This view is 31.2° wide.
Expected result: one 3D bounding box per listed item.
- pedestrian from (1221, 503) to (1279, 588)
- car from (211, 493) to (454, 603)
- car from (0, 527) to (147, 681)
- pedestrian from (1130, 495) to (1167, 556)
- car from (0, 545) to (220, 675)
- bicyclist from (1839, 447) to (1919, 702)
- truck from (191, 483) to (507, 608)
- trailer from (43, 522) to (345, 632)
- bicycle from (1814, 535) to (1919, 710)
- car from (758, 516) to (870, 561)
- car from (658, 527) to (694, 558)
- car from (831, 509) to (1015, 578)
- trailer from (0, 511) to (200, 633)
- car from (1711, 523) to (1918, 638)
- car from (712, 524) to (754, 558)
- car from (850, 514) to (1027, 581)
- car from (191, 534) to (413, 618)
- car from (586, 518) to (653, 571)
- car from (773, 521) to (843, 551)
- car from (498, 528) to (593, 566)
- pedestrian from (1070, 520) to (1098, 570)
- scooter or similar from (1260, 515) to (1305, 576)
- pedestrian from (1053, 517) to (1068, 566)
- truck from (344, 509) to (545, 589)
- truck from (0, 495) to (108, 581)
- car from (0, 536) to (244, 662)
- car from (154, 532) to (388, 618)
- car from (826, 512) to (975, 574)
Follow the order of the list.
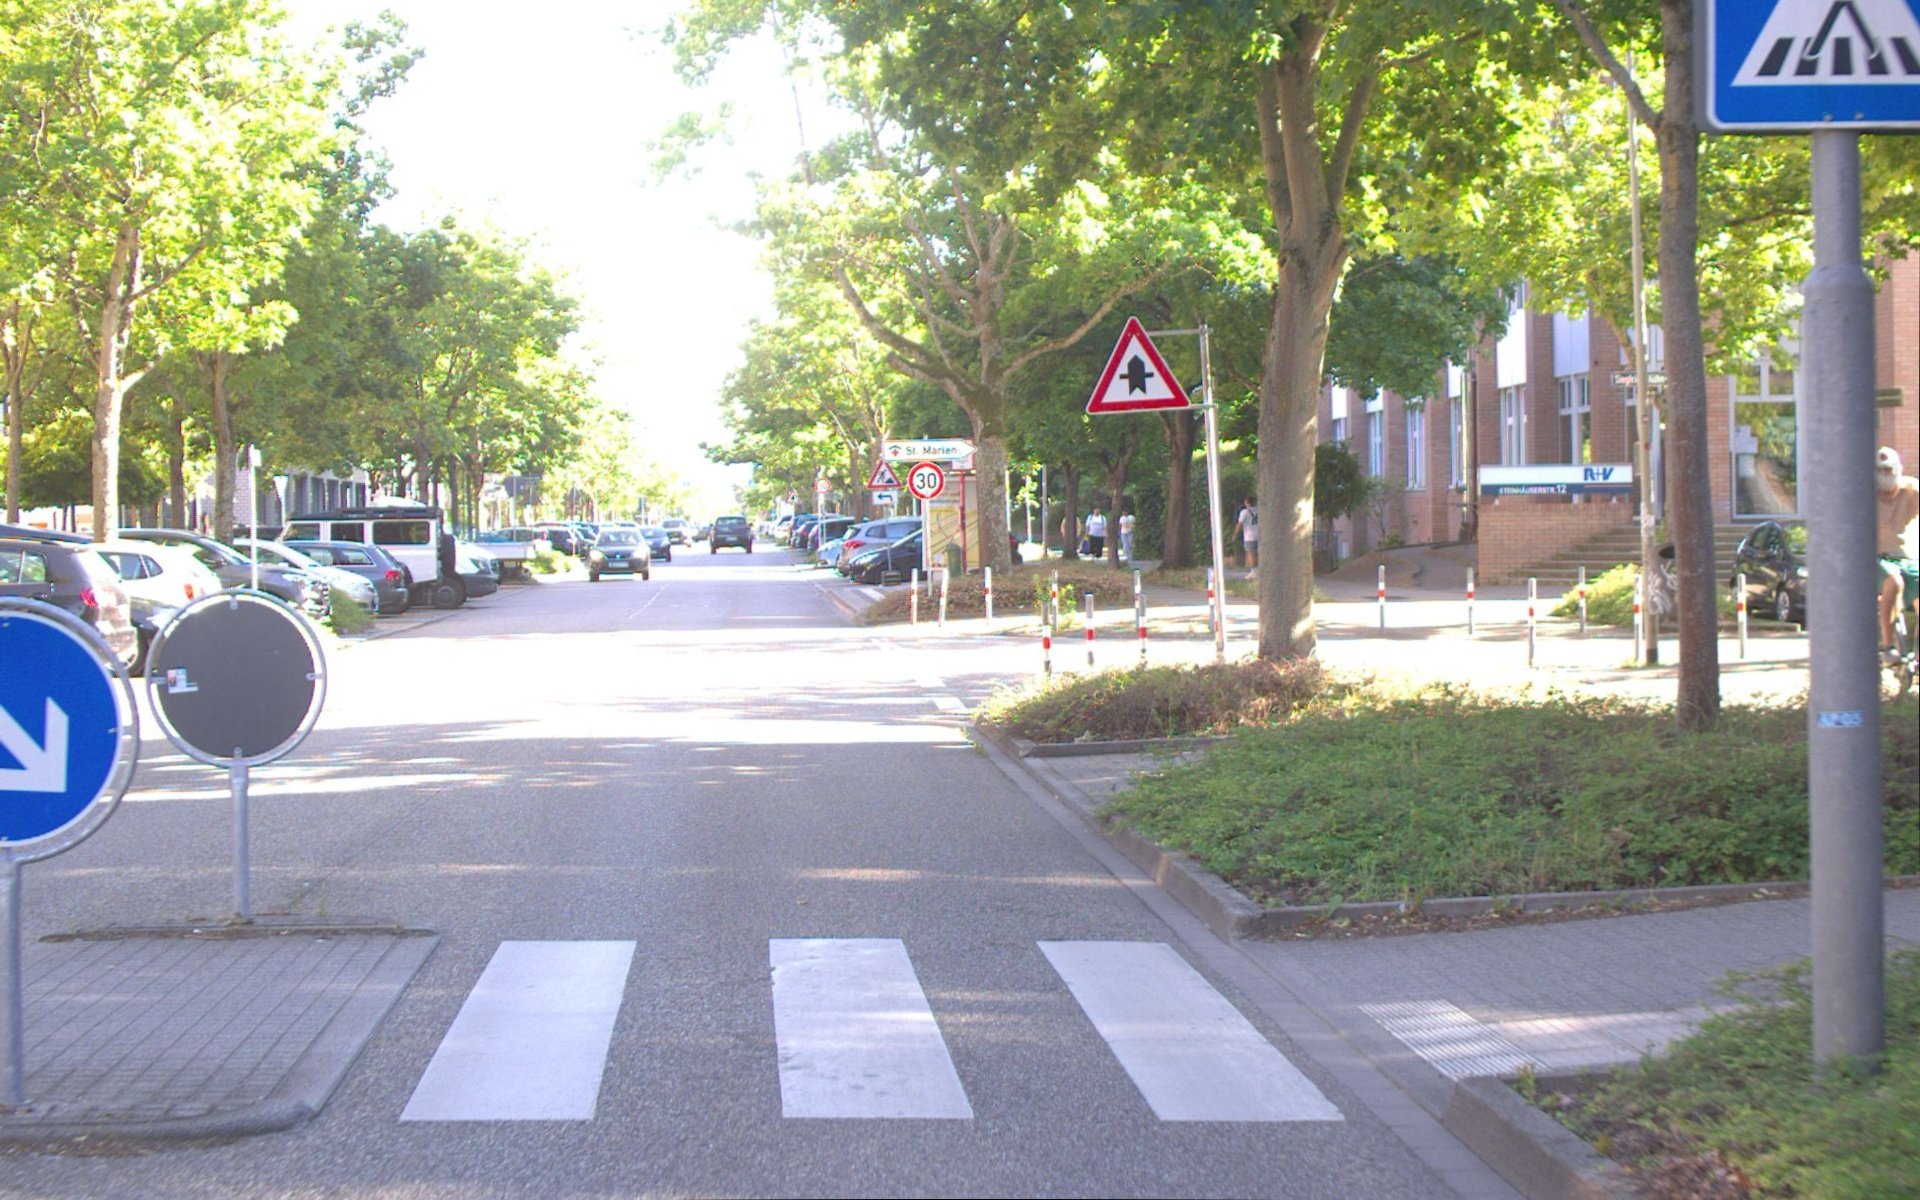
[{"bbox_3d":[6.032,-1.140,71.558,0.917,1.705,0.698,-5,2,-17],"label":"pedestrian"},{"bbox_3d":[-12.156,-1.005,66.854,4.481,2.044,2.000,1,1,-5],"label":"car"},{"bbox_3d":[-10.824,-0.007,36.560,3.986,1.565,1.728,2,1,-4],"label":"car"},{"bbox_3d":[5.446,-2.153,99.467,0.695,1.705,0.921,-4,2,-14],"label":"pedestrian"},{"bbox_3d":[-10.708,0.086,39.330,4.151,1.398,1.801,1,1,-4],"label":"car"},{"bbox_3d":[6.119,-0.174,22.377,0.537,1.631,0.823,-1,1,-3],"label":"bicyclist"},{"bbox_3d":[-12.743,-1.145,72.050,6.231,2.413,2.188,-2,1,-3],"label":"truck"},{"bbox_3d":[-11.466,-0.359,51.705,4.259,1.566,1.857,1,1,-7],"label":"trailer"},{"bbox_3d":[6.121,0.121,22.414,0.534,1.074,1.920,-1,1,-3],"label":"bicycle"},{"bbox_3d":[-5.781,-2.425,135.535,4.267,1.628,1.859,-2,1,-6],"label":"car"},{"bbox_3d":[-15.803,-3.218,190.904,1.891,1.678,4.354,-1,1,-6],"label":"car"},{"bbox_3d":[-0.953,-1.432,86.902,4.351,1.592,1.940,-2,1,-10],"label":"car"},{"bbox_3d":[-12.425,-0.412,49.276,2.725,1.681,1.712,1,1,-3],"label":"trailer"},{"bbox_3d":[11.694,-0.306,47.273,1.652,1.457,3.918,-1,2,-4],"label":"car"},{"bbox_3d":[-10.989,-2.877,166.327,1.933,1.592,4.367,-1,1,-4],"label":"car"},{"bbox_3d":[-0.520,-1.220,80.017,3.934,1.434,1.775,-2,1,-6],"label":"car"},{"bbox_3d":[-12.095,-0.450,63.391,3.778,1.487,1.833,1,1,-2],"label":"car"},{"bbox_3d":[-9.939,-1.633,100.536,1.779,1.506,4.001,-1,1,-4],"label":"car"},{"bbox_3d":[-9.149,-3.868,207.045,3.986,1.786,2.001,-1,1,-8],"label":"car"},{"bbox_3d":[-16.817,-2.158,139.668,3.732,1.459,1.677,-1,1,-4],"label":"car"},{"bbox_3d":[3.683,-1.634,102.140,0.700,1.453,0.716,-2,1,-6],"label":"pedestrian"},{"bbox_3d":[7.137,-1.210,76.230,0.548,1.321,1.806,1,1,-9],"label":"scooter or similar"},{"bbox_3d":[2.980,-1.736,102.033,0.380,1.436,0.433,1,1,-7],"label":"pedestrian"},{"bbox_3d":[-13.659,-1.362,91.343,4.985,1.952,2.138,-1,1,0],"label":"truck"},{"bbox_3d":[-31.129,-2.001,112.089,6.103,2.695,2.578,-1,1,-5],"label":"truck"},{"bbox_3d":[-10.826,-0.032,42.230,3.754,1.447,1.755,1,1,-4],"label":"car"},{"bbox_3d":[-12.262,-0.460,61.320,3.834,1.456,1.732,1,1,0],"label":"car"},{"bbox_3d":[-1.846,-1.755,105.628,4.404,1.612,1.912,-4,2,-4],"label":"car"}]
